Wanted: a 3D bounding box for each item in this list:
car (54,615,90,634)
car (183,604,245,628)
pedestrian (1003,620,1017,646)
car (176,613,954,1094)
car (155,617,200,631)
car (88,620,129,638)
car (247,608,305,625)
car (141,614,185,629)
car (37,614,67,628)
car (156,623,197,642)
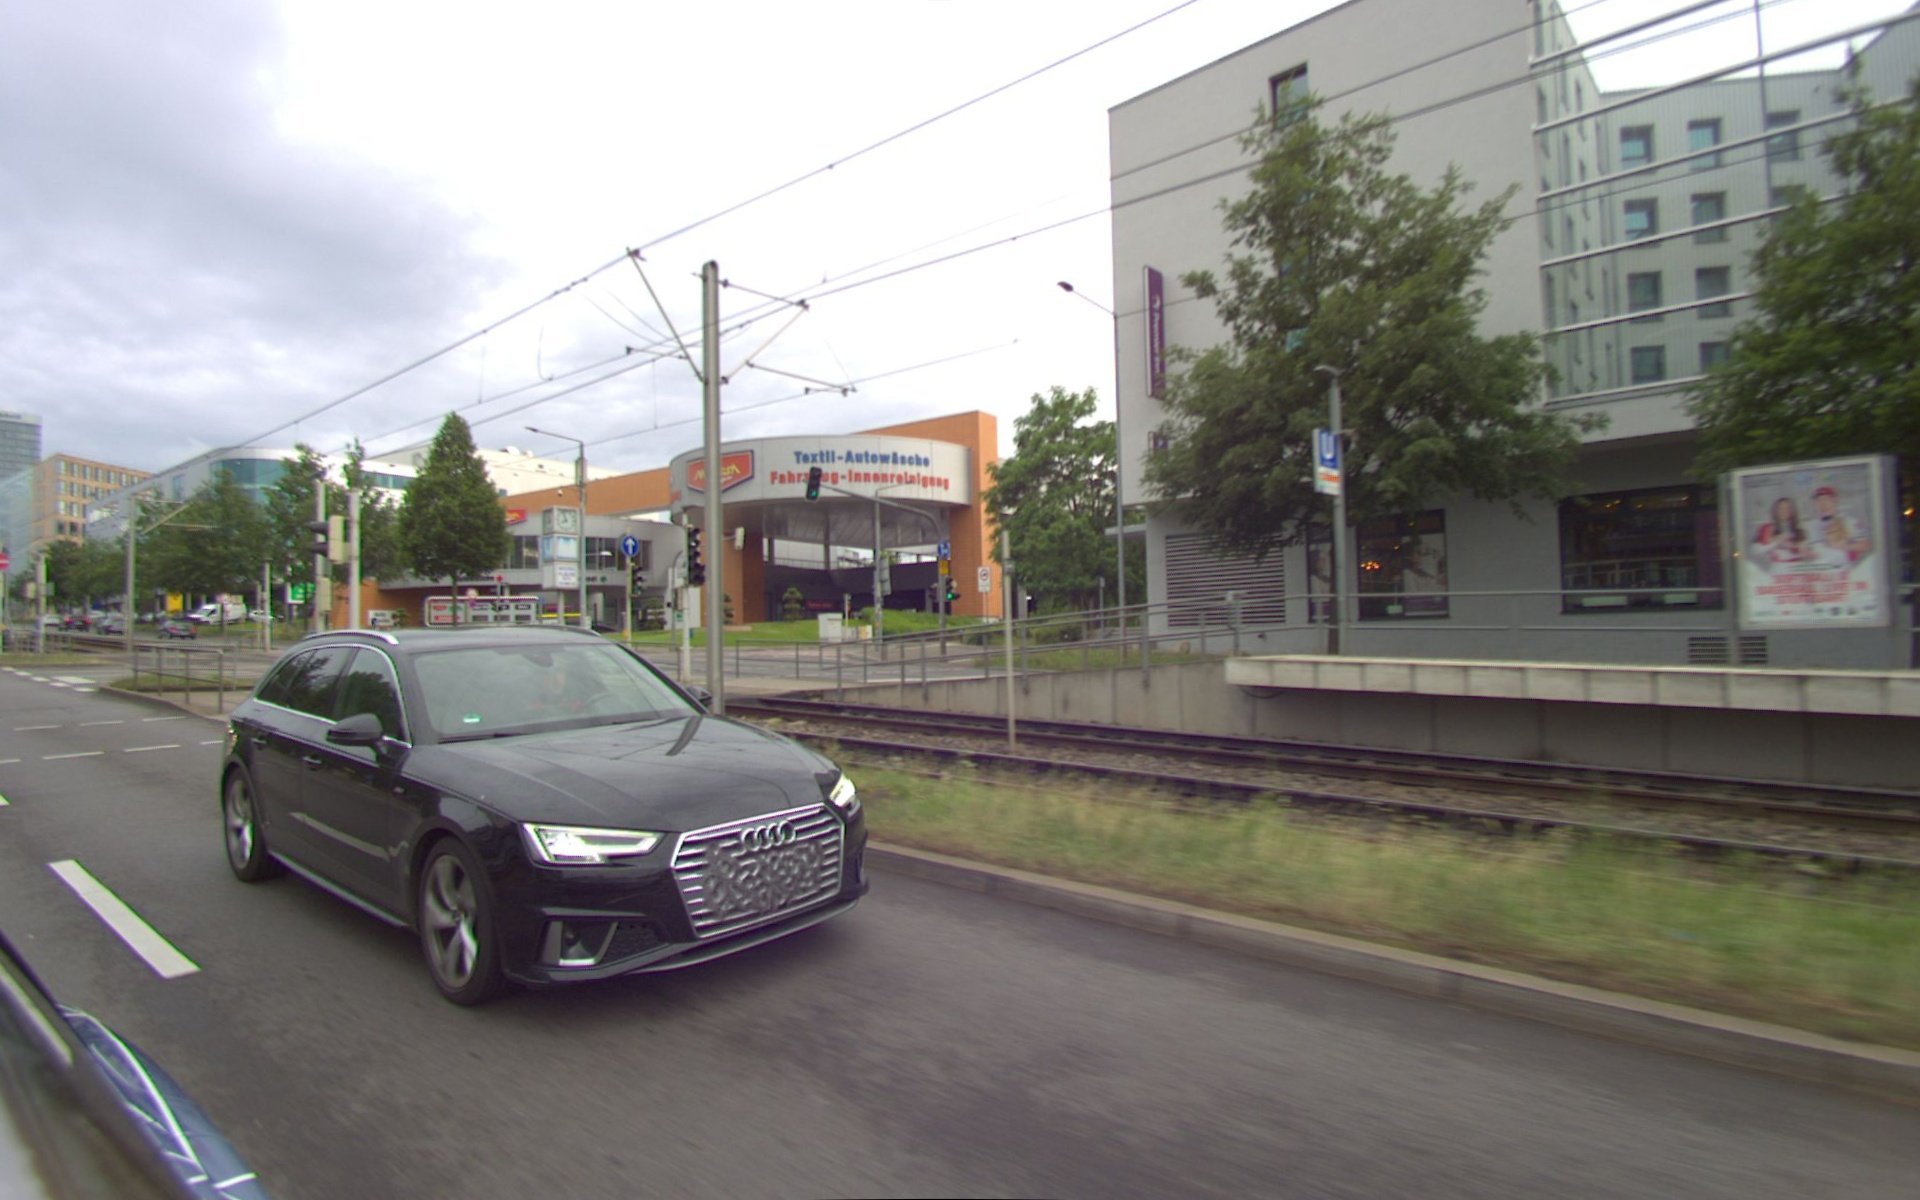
[{"bbox_3d":[-85.204,2.329,97.082,4.386,1.788,1.973,-1,-1,41],"label":"car"},{"bbox_3d":[-86.821,1.868,117.800,2.264,2.648,5.443,-1,1,23],"label":"car"},{"bbox_3d":[3.993,2.614,80.194,0.775,2.045,0.877,-1,-1,30],"label":"pedestrian"},{"bbox_3d":[-2.431,0.821,5.347,4.825,1.445,1.772,-1,-1,40],"label":"car"},{"bbox_3d":[-95.126,2.895,123.021,1.891,1.519,3.957,0,1,32],"label":"car"},{"bbox_3d":[-72.823,2.458,86.557,4.383,1.438,1.835,-1,-3,38],"label":"car"},{"bbox_3d":[-83.132,2.019,123.036,2.273,1.940,5.421,0,1,34],"label":"car"},{"bbox_3d":[-100.898,2.717,128.105,1.917,1.674,3.955,-1,1,33],"label":"car"},{"bbox_3d":[-112.464,2.592,125.320,4.702,1.529,1.974,0,1,39],"label":"car"},{"bbox_3d":[-58.773,2.418,75.884,3.776,1.434,1.711,-1,-1,40],"label":"car"}]
